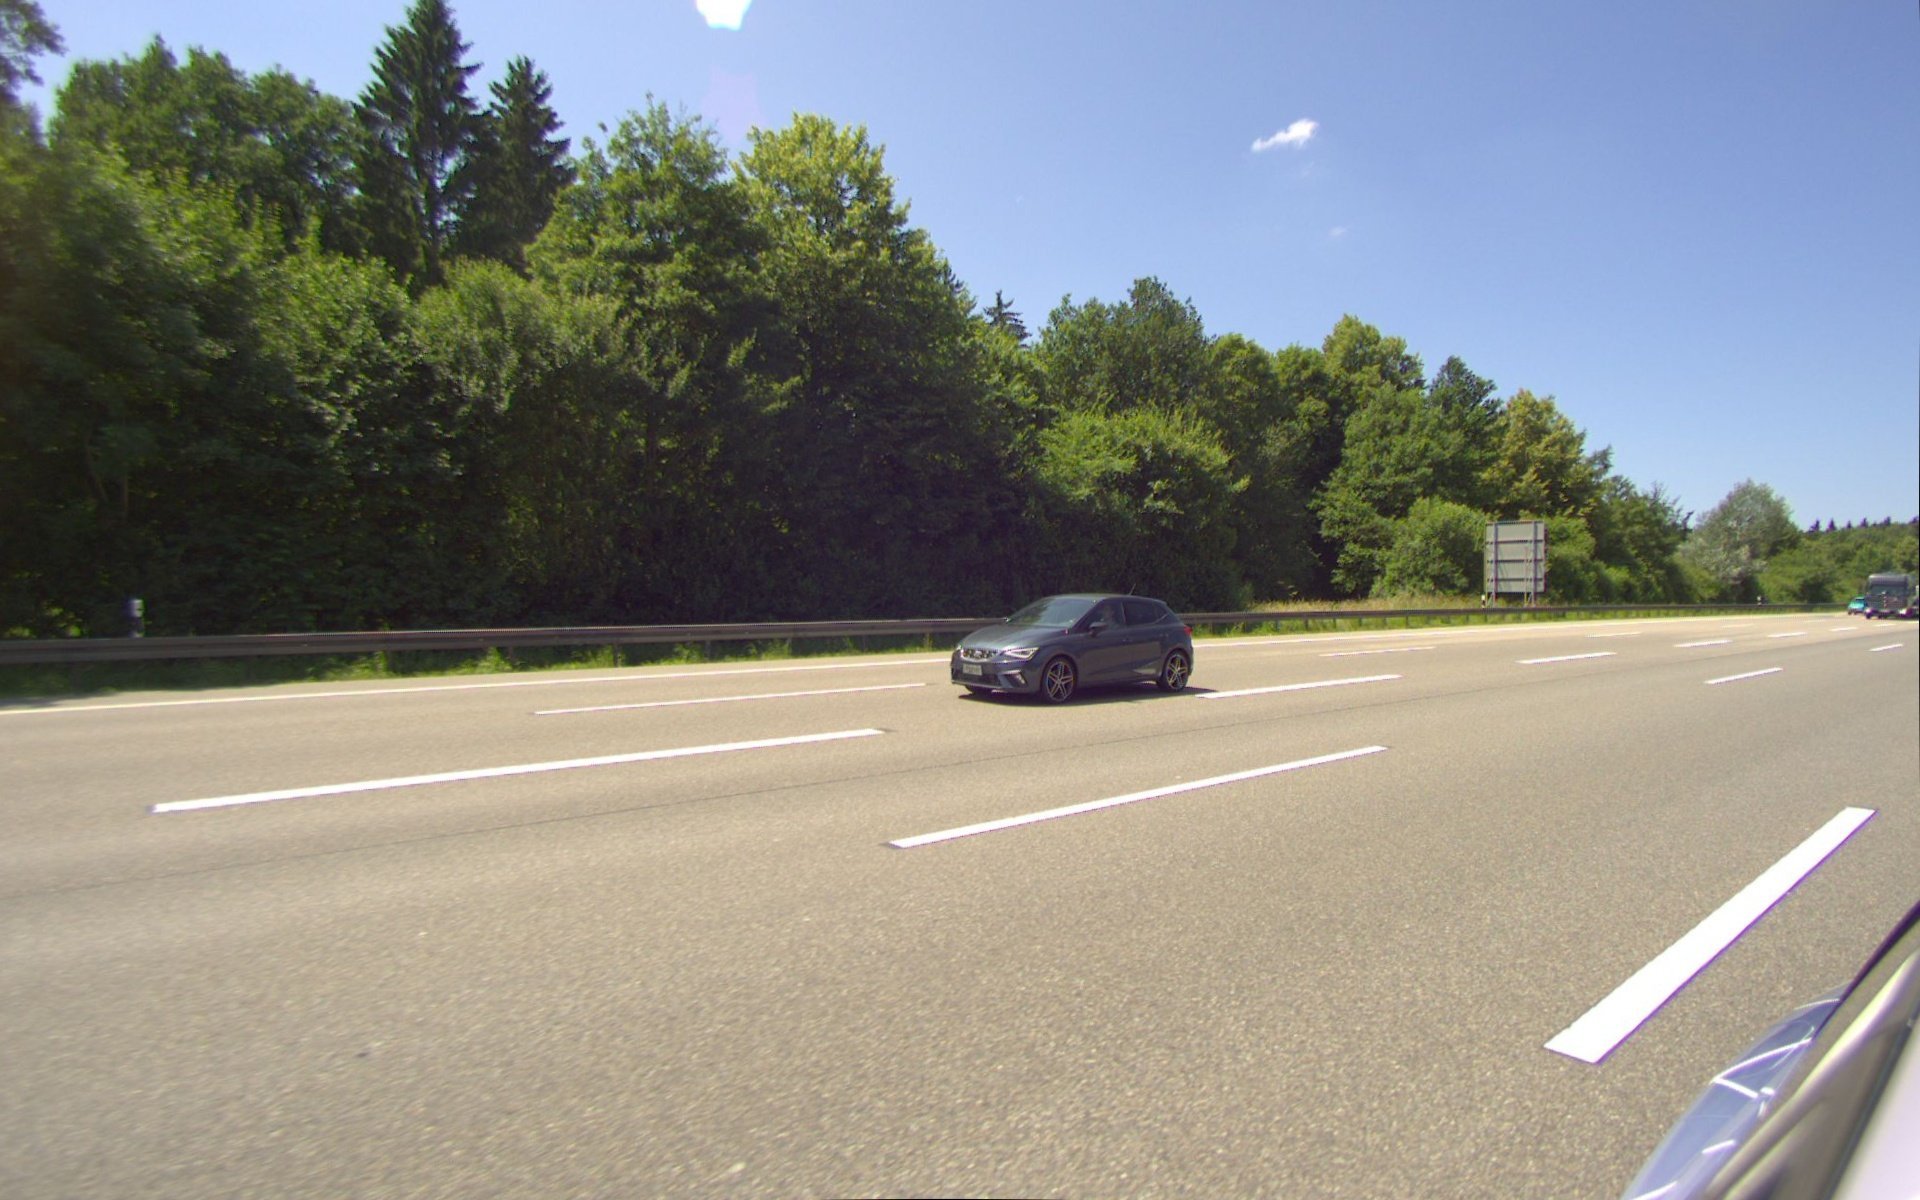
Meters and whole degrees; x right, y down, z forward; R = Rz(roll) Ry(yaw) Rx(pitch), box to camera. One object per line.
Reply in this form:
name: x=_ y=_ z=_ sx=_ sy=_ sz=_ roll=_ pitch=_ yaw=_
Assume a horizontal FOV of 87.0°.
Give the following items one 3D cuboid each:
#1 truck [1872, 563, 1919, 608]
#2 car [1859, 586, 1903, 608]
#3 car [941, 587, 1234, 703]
truck: x=65.223 y=-0.976 z=69.166 sx=10.690 sy=2.892 sz=2.660 roll=0 pitch=1 yaw=-39
car: x=73.199 y=-0.255 z=80.439 sx=4.053 sy=1.701 sz=1.998 roll=0 pitch=1 yaw=-39
car: x=1.988 y=0.536 z=14.825 sx=4.554 sy=1.456 sz=1.646 roll=-1 pitch=1 yaw=-41
